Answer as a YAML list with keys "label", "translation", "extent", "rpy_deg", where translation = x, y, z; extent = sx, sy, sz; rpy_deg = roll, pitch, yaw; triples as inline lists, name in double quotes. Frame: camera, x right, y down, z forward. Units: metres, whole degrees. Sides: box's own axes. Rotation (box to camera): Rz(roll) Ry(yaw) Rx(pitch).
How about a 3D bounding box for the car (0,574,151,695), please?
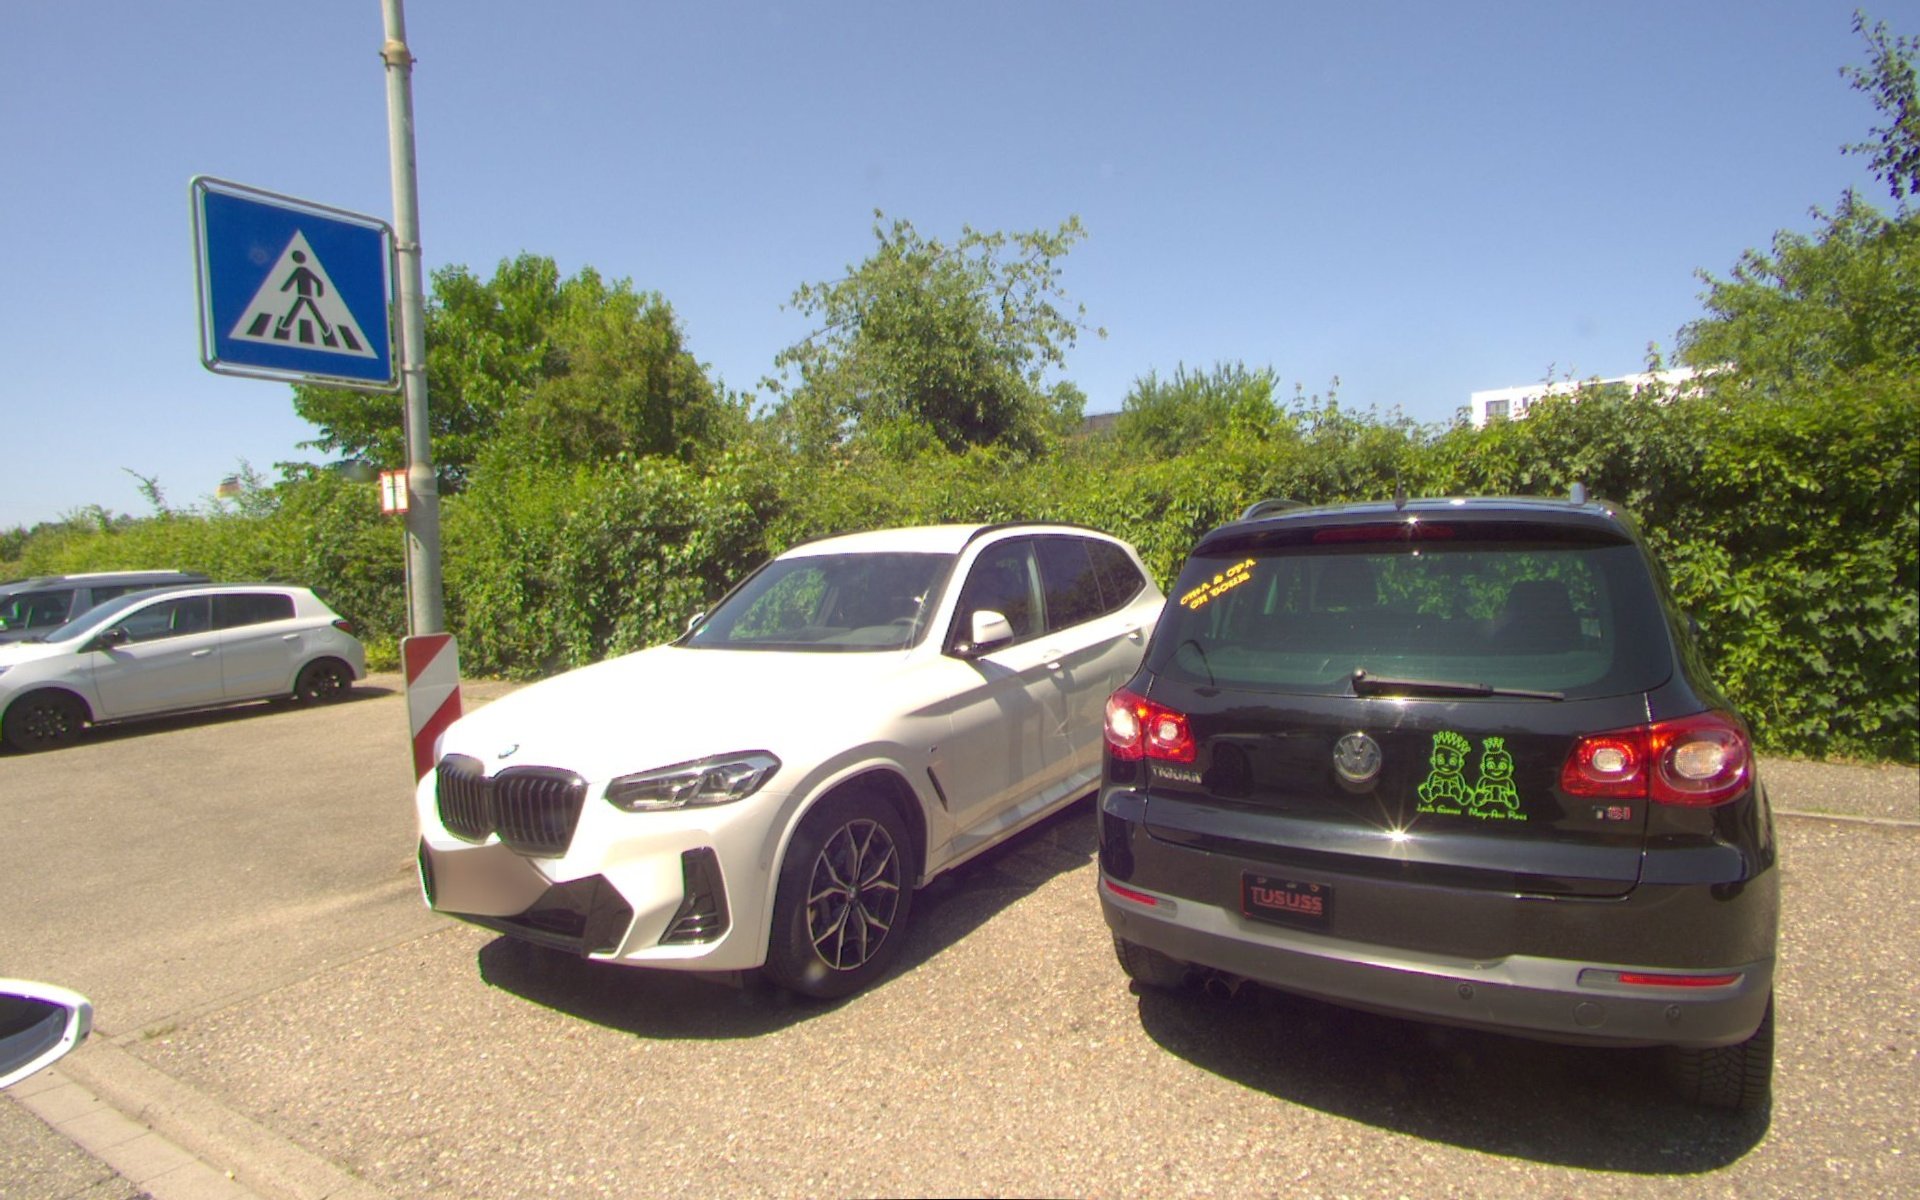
- label: "car"
  translation: [-13.693, 0.520, 13.873]
  extent: [1.515, 1.549, 3.446]
  rpy_deg: [0, 5, 28]

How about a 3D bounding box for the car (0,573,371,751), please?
- label: "car"
  translation: [-8.789, 0.549, 10.920]
  extent: [1.588, 1.471, 3.673]
  rpy_deg: [1, 5, 36]

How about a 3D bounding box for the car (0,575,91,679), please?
- label: "car"
  translation: [-16.174, 0.525, 15.240]
  extent: [1.835, 1.545, 3.955]
  rpy_deg: [0, 5, 27]

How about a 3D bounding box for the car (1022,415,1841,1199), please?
- label: "car"
  translation: [1.962, 0.412, 4.068]
  extent: [1.741, 1.709, 3.962]
  rpy_deg: [0, 3, 32]

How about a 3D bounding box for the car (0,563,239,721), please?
- label: "car"
  translation: [-11.397, 0.502, 12.098]
  extent: [1.637, 1.664, 3.953]
  rpy_deg: [0, 5, 27]

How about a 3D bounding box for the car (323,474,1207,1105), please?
- label: "car"
  translation: [-0.376, 0.432, 5.121]
  extent: [1.825, 1.753, 4.440]
  rpy_deg: [-1, 3, 33]

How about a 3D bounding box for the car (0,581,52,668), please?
- label: "car"
  translation: [-18.286, 0.497, 17.423]
  extent: [1.566, 1.525, 3.374]
  rpy_deg: [1, 4, 36]
